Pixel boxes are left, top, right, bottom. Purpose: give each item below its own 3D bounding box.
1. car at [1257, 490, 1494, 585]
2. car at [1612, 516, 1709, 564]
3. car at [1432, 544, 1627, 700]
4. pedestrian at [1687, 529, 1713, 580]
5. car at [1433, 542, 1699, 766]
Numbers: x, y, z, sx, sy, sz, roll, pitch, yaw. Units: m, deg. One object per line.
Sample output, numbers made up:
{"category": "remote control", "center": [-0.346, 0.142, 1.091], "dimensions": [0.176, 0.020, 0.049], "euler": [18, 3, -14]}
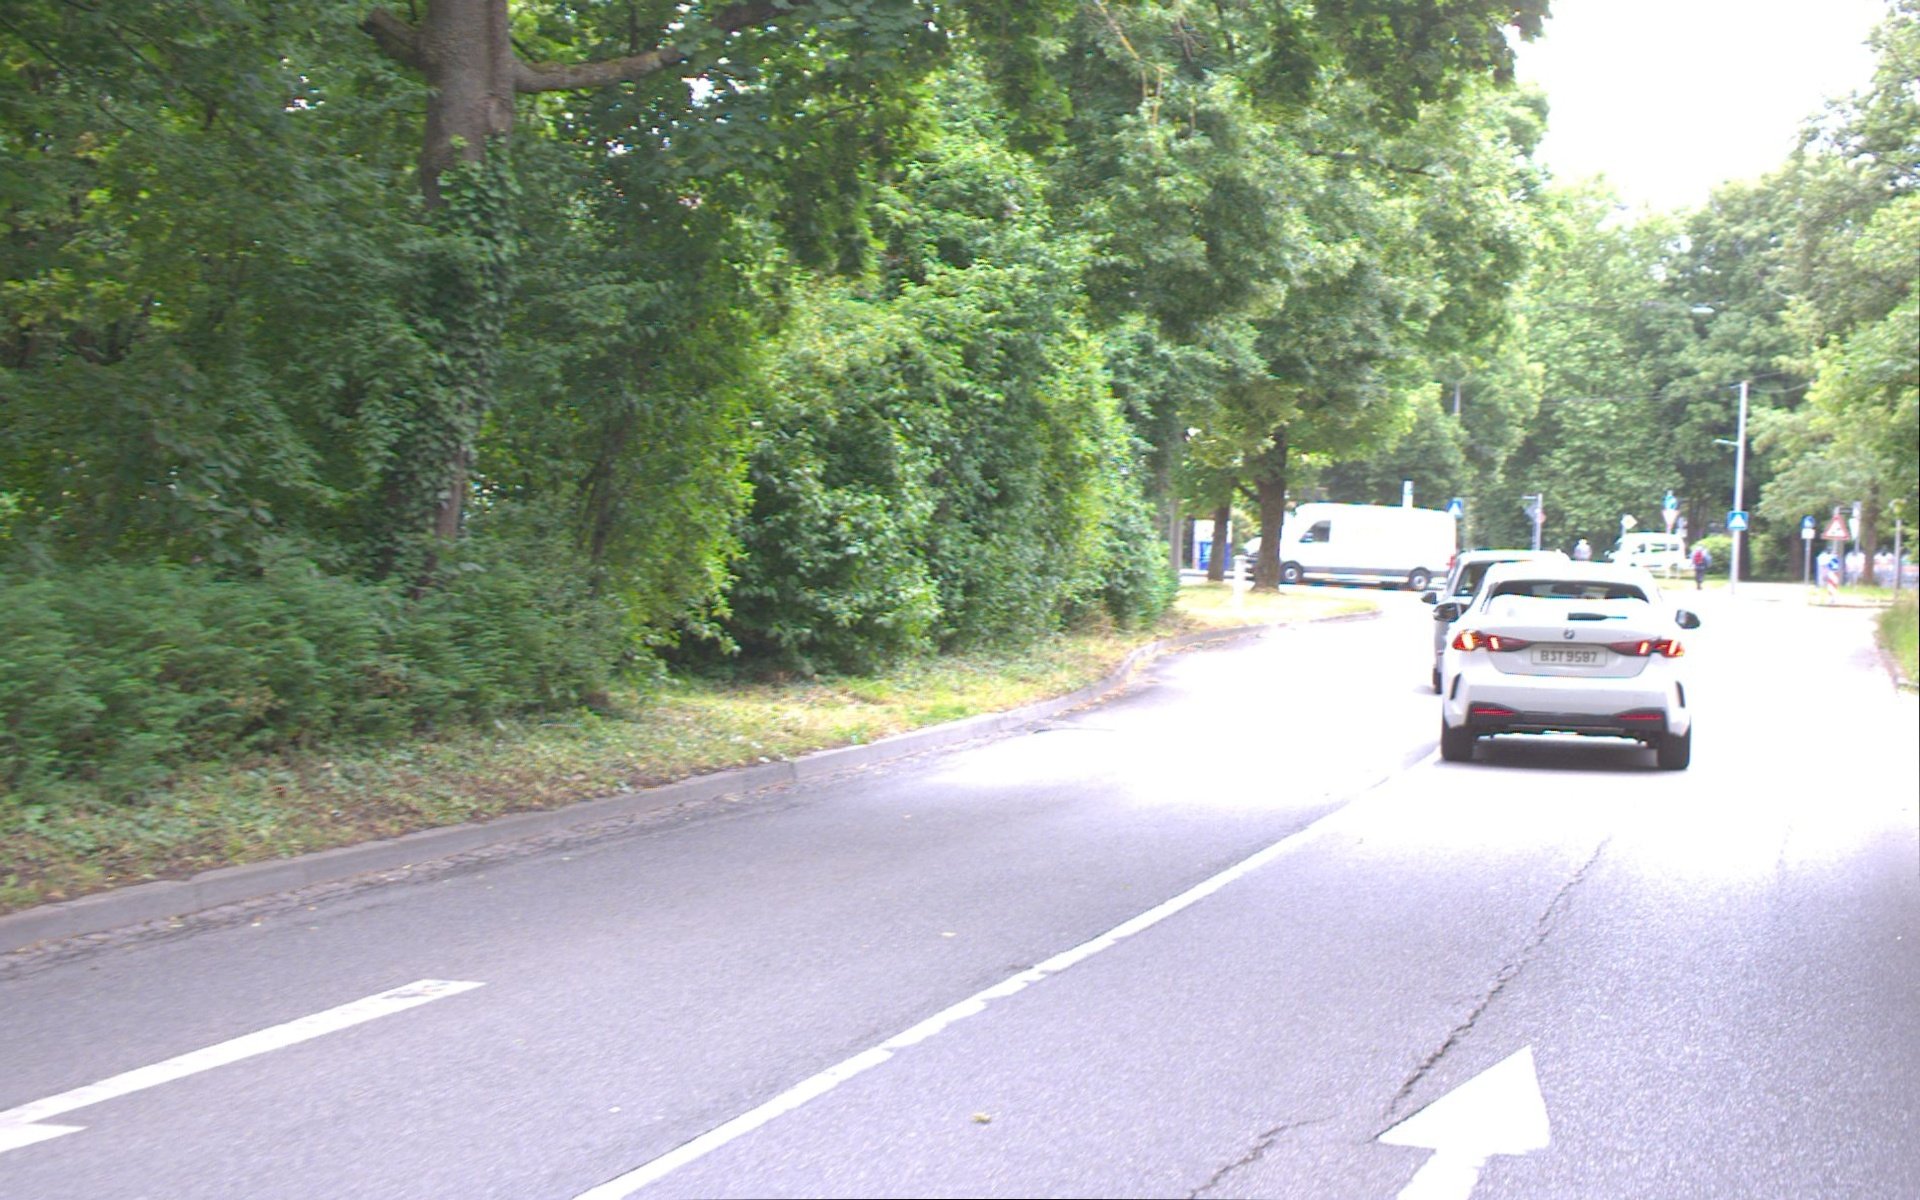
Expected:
{"category": "car", "center": [12.862, -1.928, 106.353], "dimensions": [6.956, 2.513, 2.086], "euler": [3, 3, -22]}
{"category": "car", "center": [39.657, -3.388, 194.673], "dimensions": [5.368, 2.289, 2.138], "euler": [3, 3, -36]}
{"category": "car", "center": [6.471, 0.196, 38.779], "dimensions": [1.924, 1.568, 3.998], "euler": [3, 2, 12]}
{"category": "pedestrian", "center": [28.262, -1.729, 131.368], "dimensions": [0.924, 1.865, 1.019], "euler": [-1, 3, 11]}
{"category": "car", "center": [4.681, 0.354, 26.169], "dimensions": [1.797, 1.512, 4.205], "euler": [2, 1, 12]}
